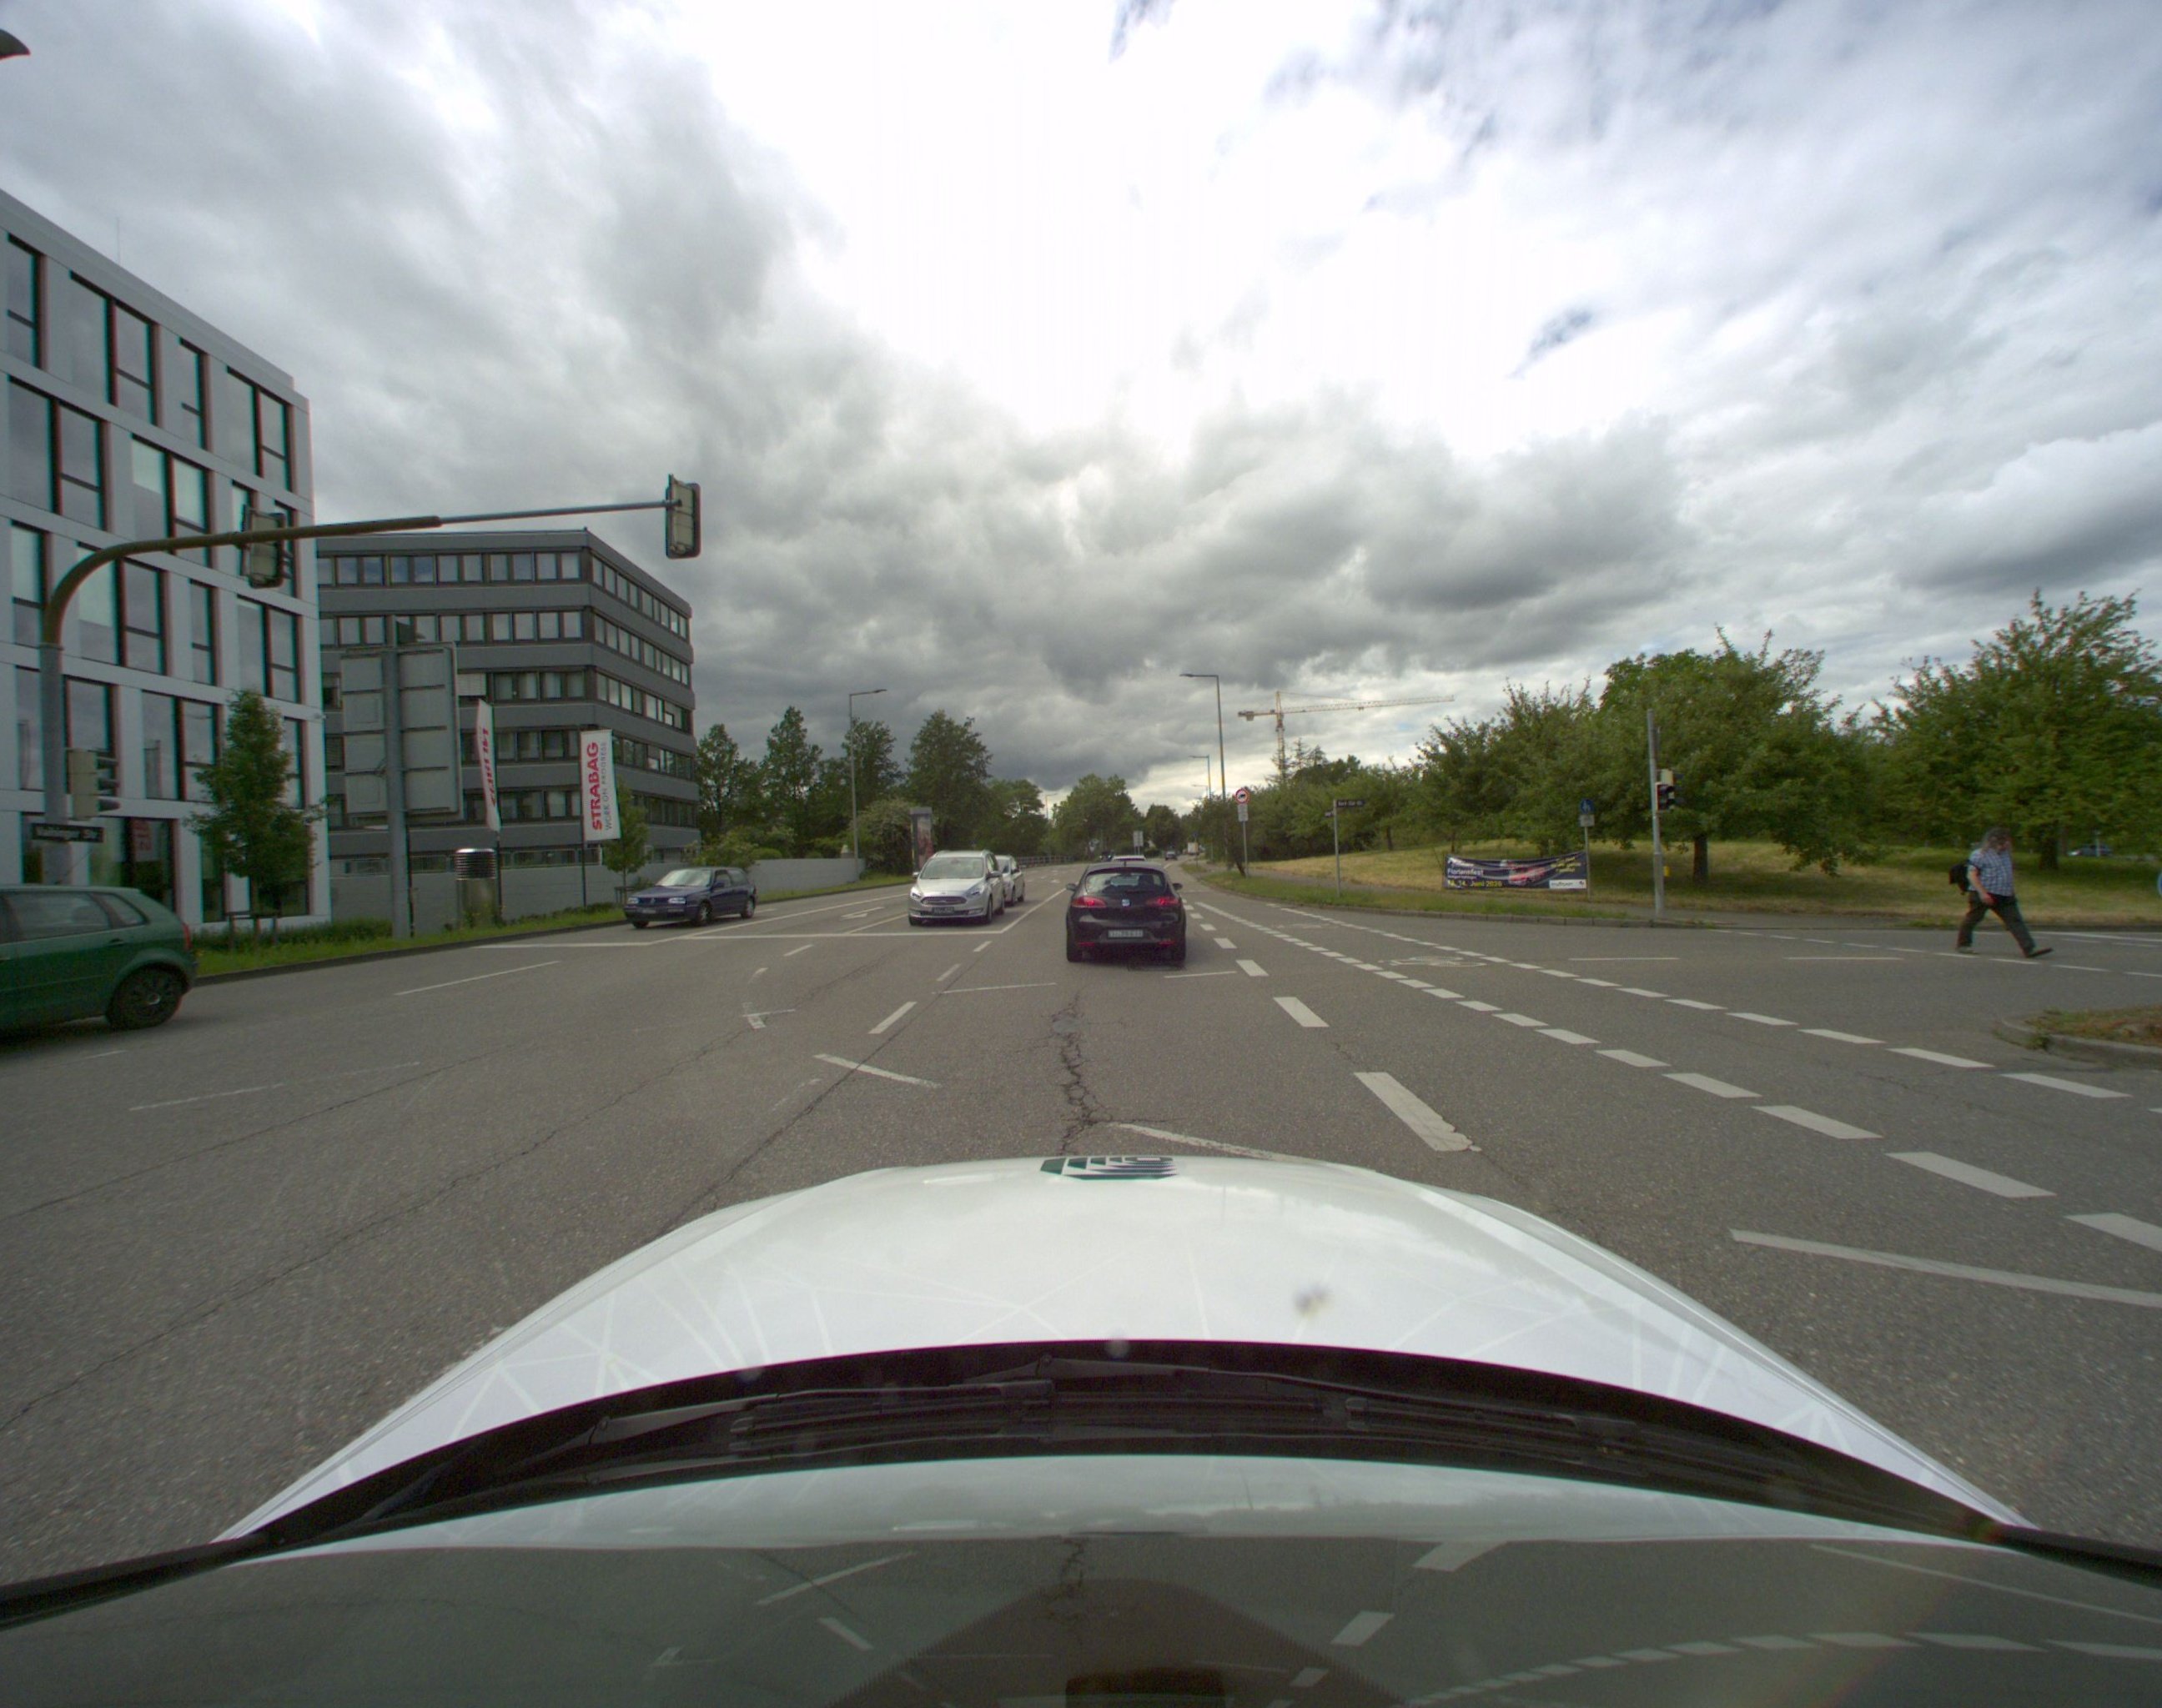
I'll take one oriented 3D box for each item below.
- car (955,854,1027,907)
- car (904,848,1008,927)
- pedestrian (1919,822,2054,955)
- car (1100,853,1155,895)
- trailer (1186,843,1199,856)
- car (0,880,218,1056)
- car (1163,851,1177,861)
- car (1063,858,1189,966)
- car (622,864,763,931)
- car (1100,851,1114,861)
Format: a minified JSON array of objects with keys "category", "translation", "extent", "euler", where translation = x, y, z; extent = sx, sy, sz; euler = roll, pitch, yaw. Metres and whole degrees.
[{"category":"car","translation":[-2.792,0.795,26.057],"extent":[1.654,1.518,4.087],"euler":[-1,0,2]},{"category":"car","translation":[-2.928,0.719,20.094],"extent":[1.814,1.686,4.645],"euler":[-1,0,0]},{"category":"pedestrian","translation":[12.738,0.473,11.498],"extent":[0.715,1.793,1.044],"euler":[-1,-1,2]},{"category":"car","translation":[1.676,0.724,30.554],"extent":[1.829,1.467,3.750],"euler":[-1,-1,0]},{"category":"trailer","translation":[26.776,-1.071,194.861],"extent":[2.474,3.073,5.607],"euler":[-1,-1,13]},{"category":"car","translation":[-9.929,0.995,6.730],"extent":[1.601,1.432,3.751],"euler":[0,0,-1]},{"category":"car","translation":[14.421,0.326,132.291],"extent":[1.982,1.565,4.482],"euler":[-2,0,9]},{"category":"car","translation":[0.578,0.796,12.836],"extent":[1.706,1.417,3.457],"euler":[-1,0,-2]},{"category":"car","translation":[-9.591,1.013,20.459],"extent":[1.548,1.419,3.897],"euler":[-1,0,2]},{"category":"car","translation":[4.157,0.366,131.331],"extent":[1.704,1.581,3.753],"euler":[-1,-1,10]}]
